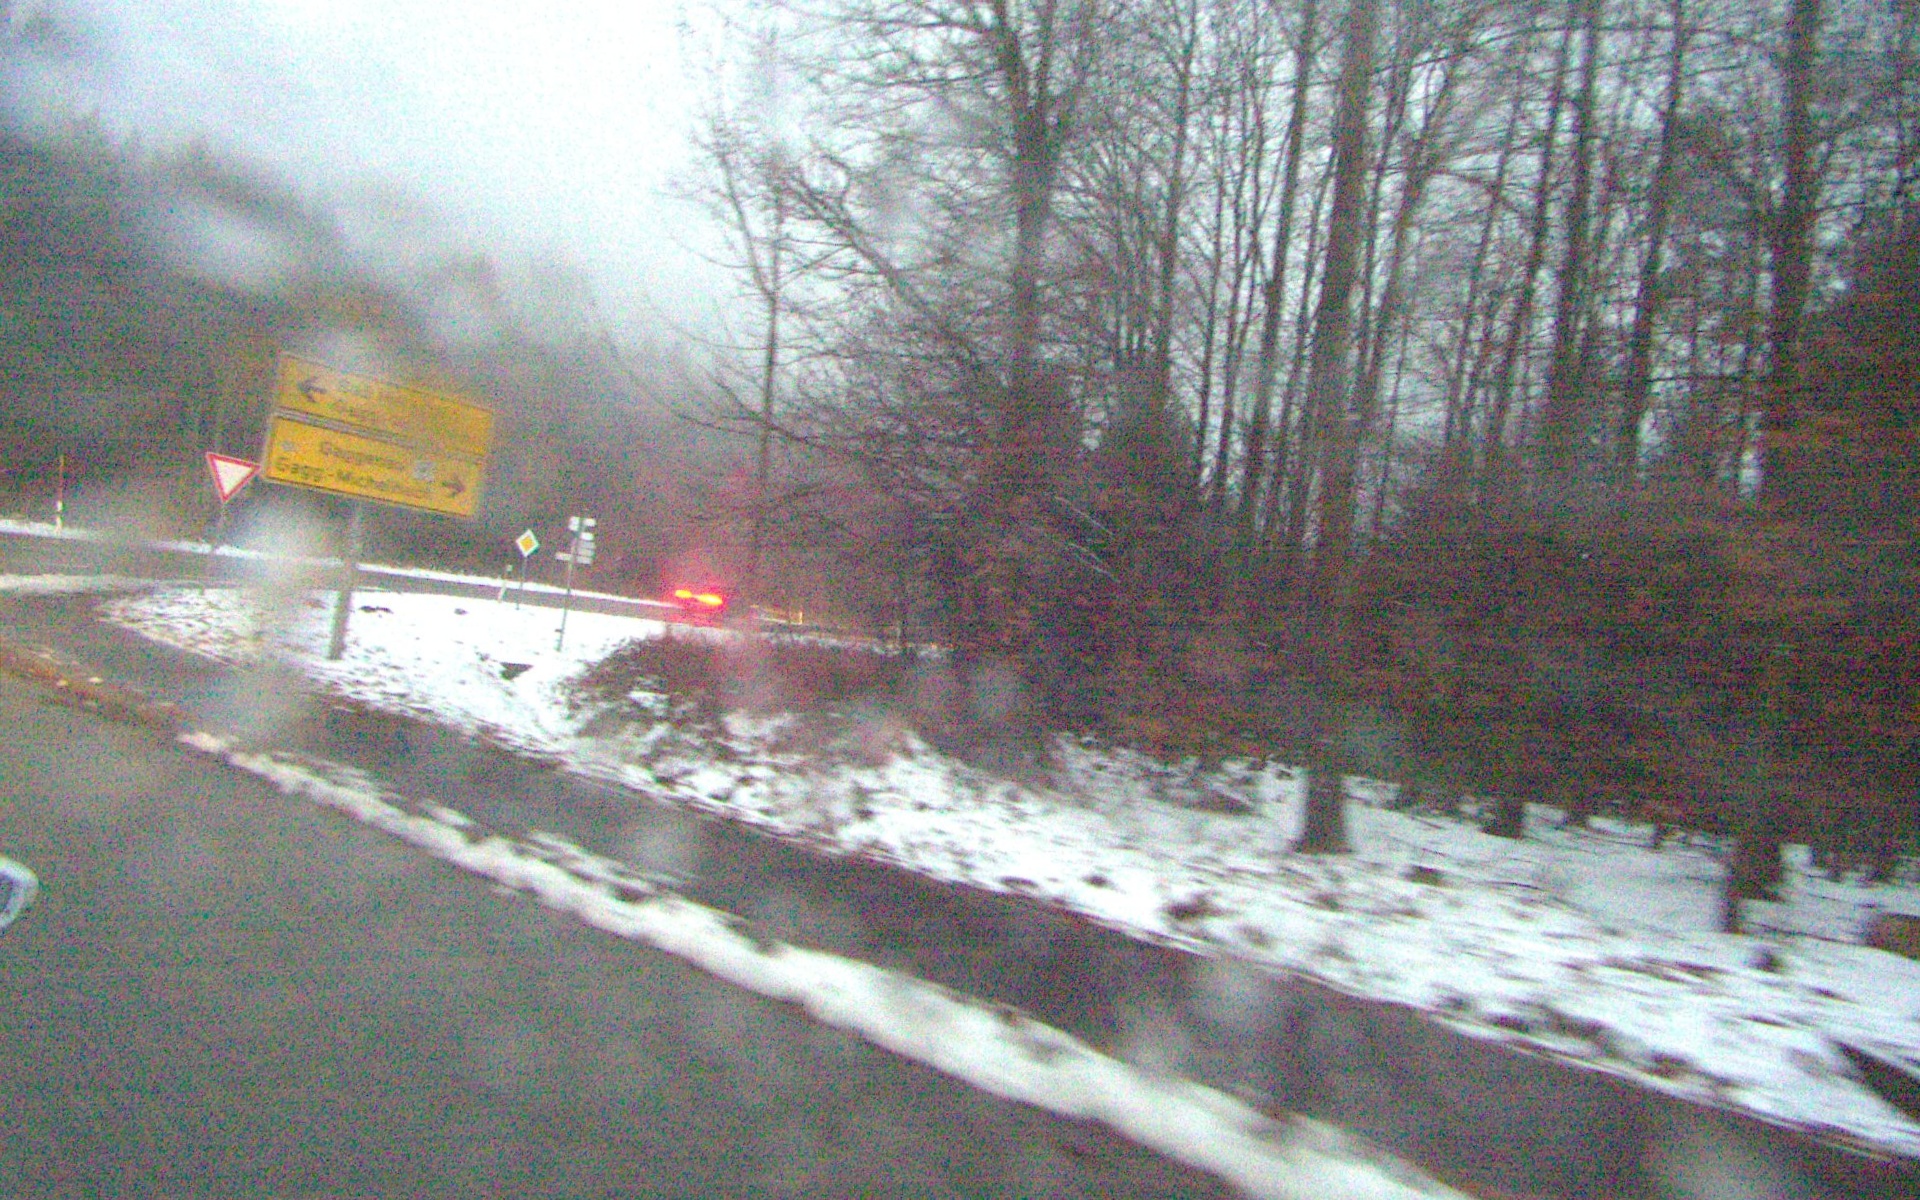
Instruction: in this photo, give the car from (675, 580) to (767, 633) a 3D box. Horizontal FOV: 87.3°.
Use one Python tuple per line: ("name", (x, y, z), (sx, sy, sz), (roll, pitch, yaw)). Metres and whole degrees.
("car", (-11.420, 0.371, 48.519), (1.654, 1.967, 5.026), (7, -3, 20))
